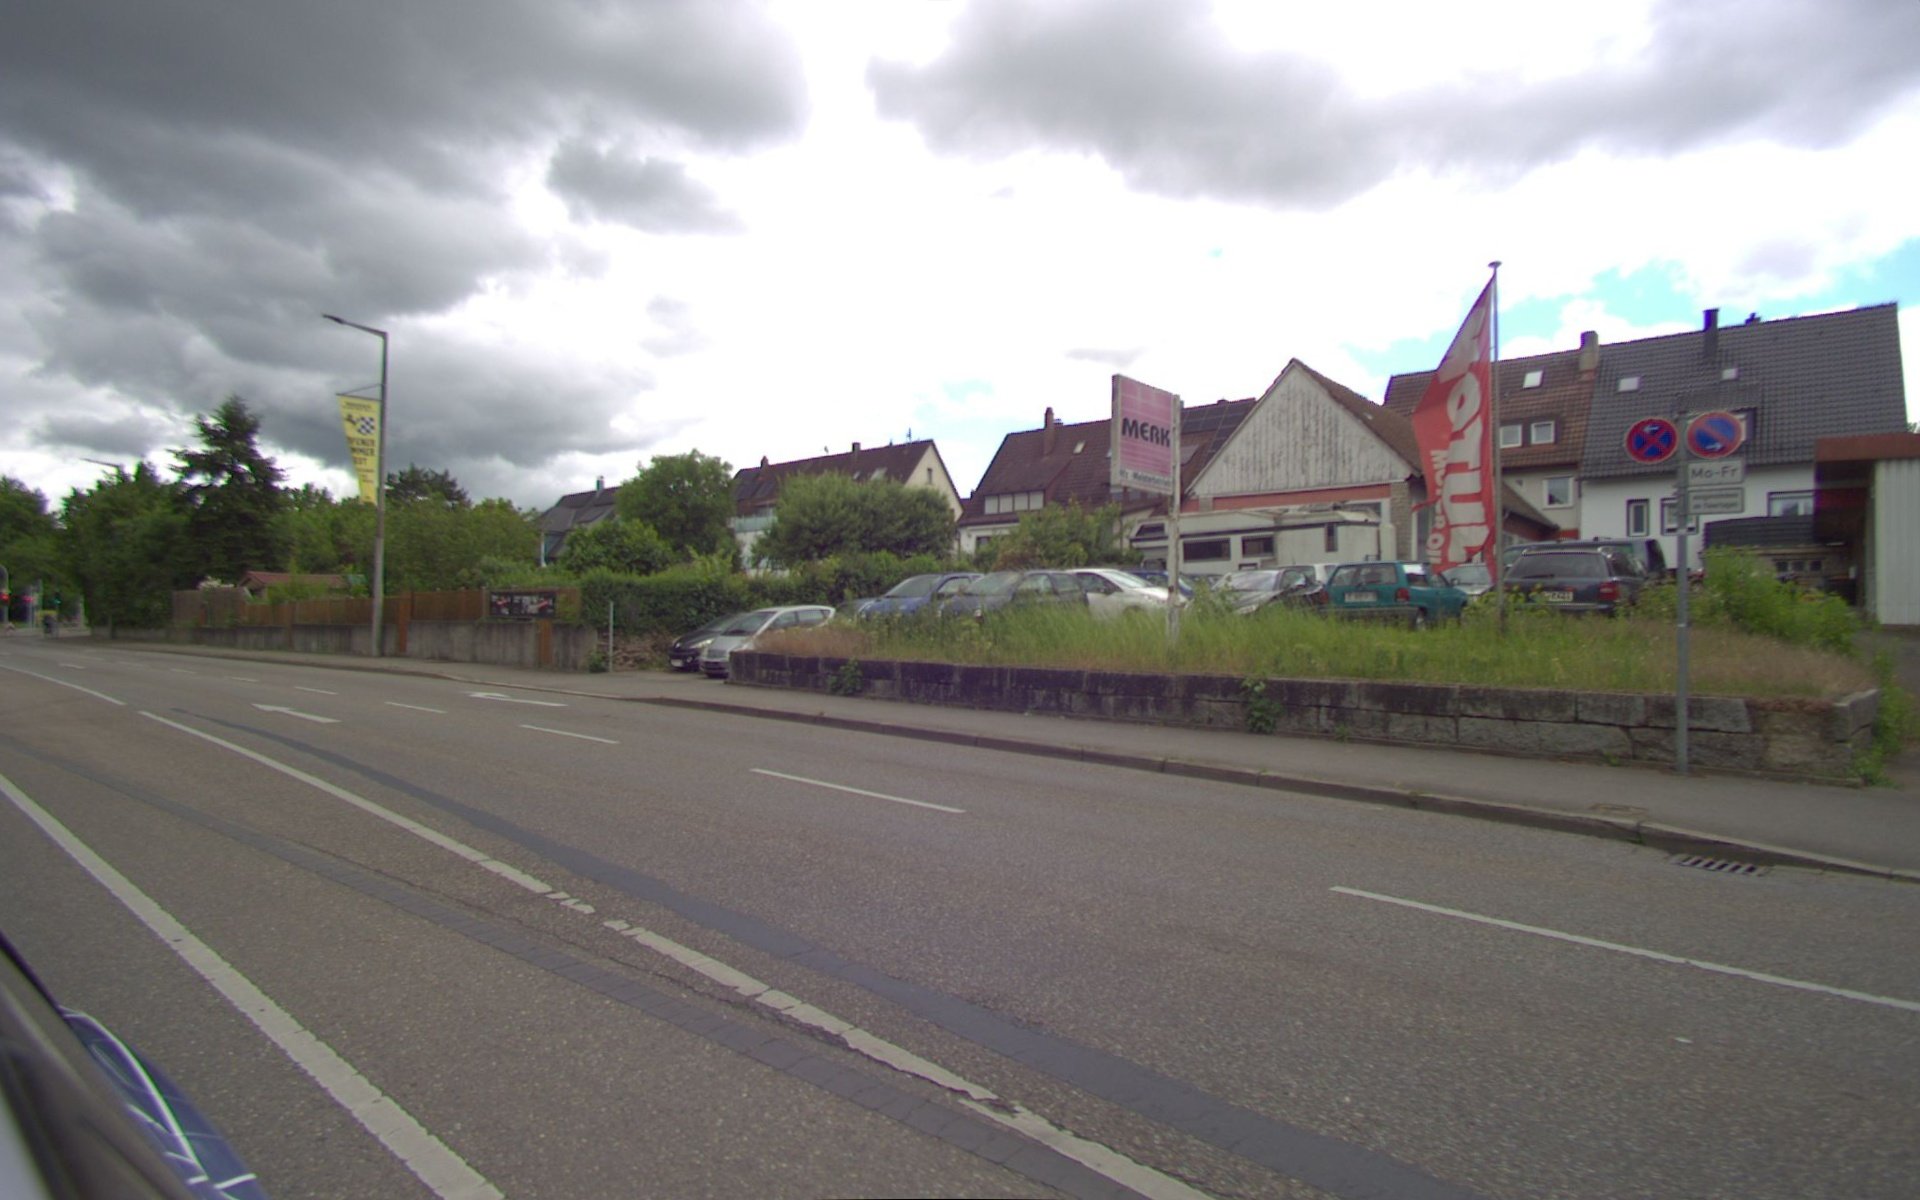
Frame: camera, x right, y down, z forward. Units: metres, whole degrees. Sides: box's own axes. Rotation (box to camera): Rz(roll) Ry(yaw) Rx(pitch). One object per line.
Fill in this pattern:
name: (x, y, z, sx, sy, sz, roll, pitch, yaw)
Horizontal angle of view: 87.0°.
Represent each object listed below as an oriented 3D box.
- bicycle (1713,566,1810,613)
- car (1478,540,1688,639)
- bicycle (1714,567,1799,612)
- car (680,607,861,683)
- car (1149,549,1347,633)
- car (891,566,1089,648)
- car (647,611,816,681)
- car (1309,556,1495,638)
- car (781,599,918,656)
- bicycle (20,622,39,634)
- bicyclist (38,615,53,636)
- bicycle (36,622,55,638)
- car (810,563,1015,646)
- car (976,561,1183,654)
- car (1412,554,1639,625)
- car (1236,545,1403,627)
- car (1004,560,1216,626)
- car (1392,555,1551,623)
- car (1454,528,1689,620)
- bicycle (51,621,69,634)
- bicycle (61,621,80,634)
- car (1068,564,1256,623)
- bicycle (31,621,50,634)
bicycle: (21.863, -0.273, 27.630, 1.986, 1.189, 0.625, -4, -2, 44)
car: (10.072, -0.166, 16.249, 3.941, 1.380, 2.001, -1, 0, -45)
bicycle: (22.843, -0.296, 29.045, 1.822, 1.189, 0.625, -4, -2, 44)
car: (-4.555, 1.023, 24.667, 2.000, 1.629, 3.945, 0, 0, 42)
car: (5.403, -0.170, 18.762, 3.795, 1.389, 1.919, -1, 0, -45)
car: (0.660, 0.099, 19.542, 3.941, 1.421, 1.534, -1, 0, -45)
car: (-5.977, 1.146, 26.746, 2.000, 1.616, 3.945, 0, 0, 42)
car: (7.860, -0.069, 17.824, 1.886, 1.278, 3.889, 0, 0, 42)
car: (-3.285, 0.774, 30.587, 1.774, 1.581, 3.945, 0, 0, 42)
bicycle: (-96.431, 2.889, 104.886, 0.537, 1.262, 1.940, -1, 0, -12)
bicyclist: (-68.047, 1.899, 75.287, 0.977, 1.546, 0.636, -1, 0, 36)
bicycle: (-67.909, 2.218, 75.169, 2.144, 1.154, 0.636, -1, 0, 37)
car: (-0.895, 0.061, 20.600, 3.941, 1.508, 1.860, -1, 0, -45)
car: (2.259, 0.097, 18.400, 3.941, 1.503, 1.648, -1, 0, -45)
car: (13.333, -0.232, 24.022, 4.399, 1.540, 1.973, 0, 0, 42)
car: (7.967, -0.298, 22.258, 3.941, 1.641, 1.935, -1, 0, -45)
car: (3.300, -0.092, 22.719, 4.396, 1.352, 1.829, -1, -1, 39)
car: (10.682, -0.228, 21.021, 3.941, 1.277, 1.798, -1, 0, -45)
car: (15.113, -0.587, 25.175, 4.749, 2.078, 1.860, 0, 0, 42)
bicycle: (-93.942, 2.866, 105.651, 0.537, 1.262, 1.940, -1, 0, -12)
bicycle: (-93.054, 2.864, 105.882, 0.537, 1.262, 1.940, -1, 0, -12)
car: (4.884, -0.139, 24.875, 4.284, 1.328, 1.651, 0, 0, 41)
bicycle: (-95.567, 2.876, 105.221, 0.537, 1.262, 1.940, -1, 0, -12)
